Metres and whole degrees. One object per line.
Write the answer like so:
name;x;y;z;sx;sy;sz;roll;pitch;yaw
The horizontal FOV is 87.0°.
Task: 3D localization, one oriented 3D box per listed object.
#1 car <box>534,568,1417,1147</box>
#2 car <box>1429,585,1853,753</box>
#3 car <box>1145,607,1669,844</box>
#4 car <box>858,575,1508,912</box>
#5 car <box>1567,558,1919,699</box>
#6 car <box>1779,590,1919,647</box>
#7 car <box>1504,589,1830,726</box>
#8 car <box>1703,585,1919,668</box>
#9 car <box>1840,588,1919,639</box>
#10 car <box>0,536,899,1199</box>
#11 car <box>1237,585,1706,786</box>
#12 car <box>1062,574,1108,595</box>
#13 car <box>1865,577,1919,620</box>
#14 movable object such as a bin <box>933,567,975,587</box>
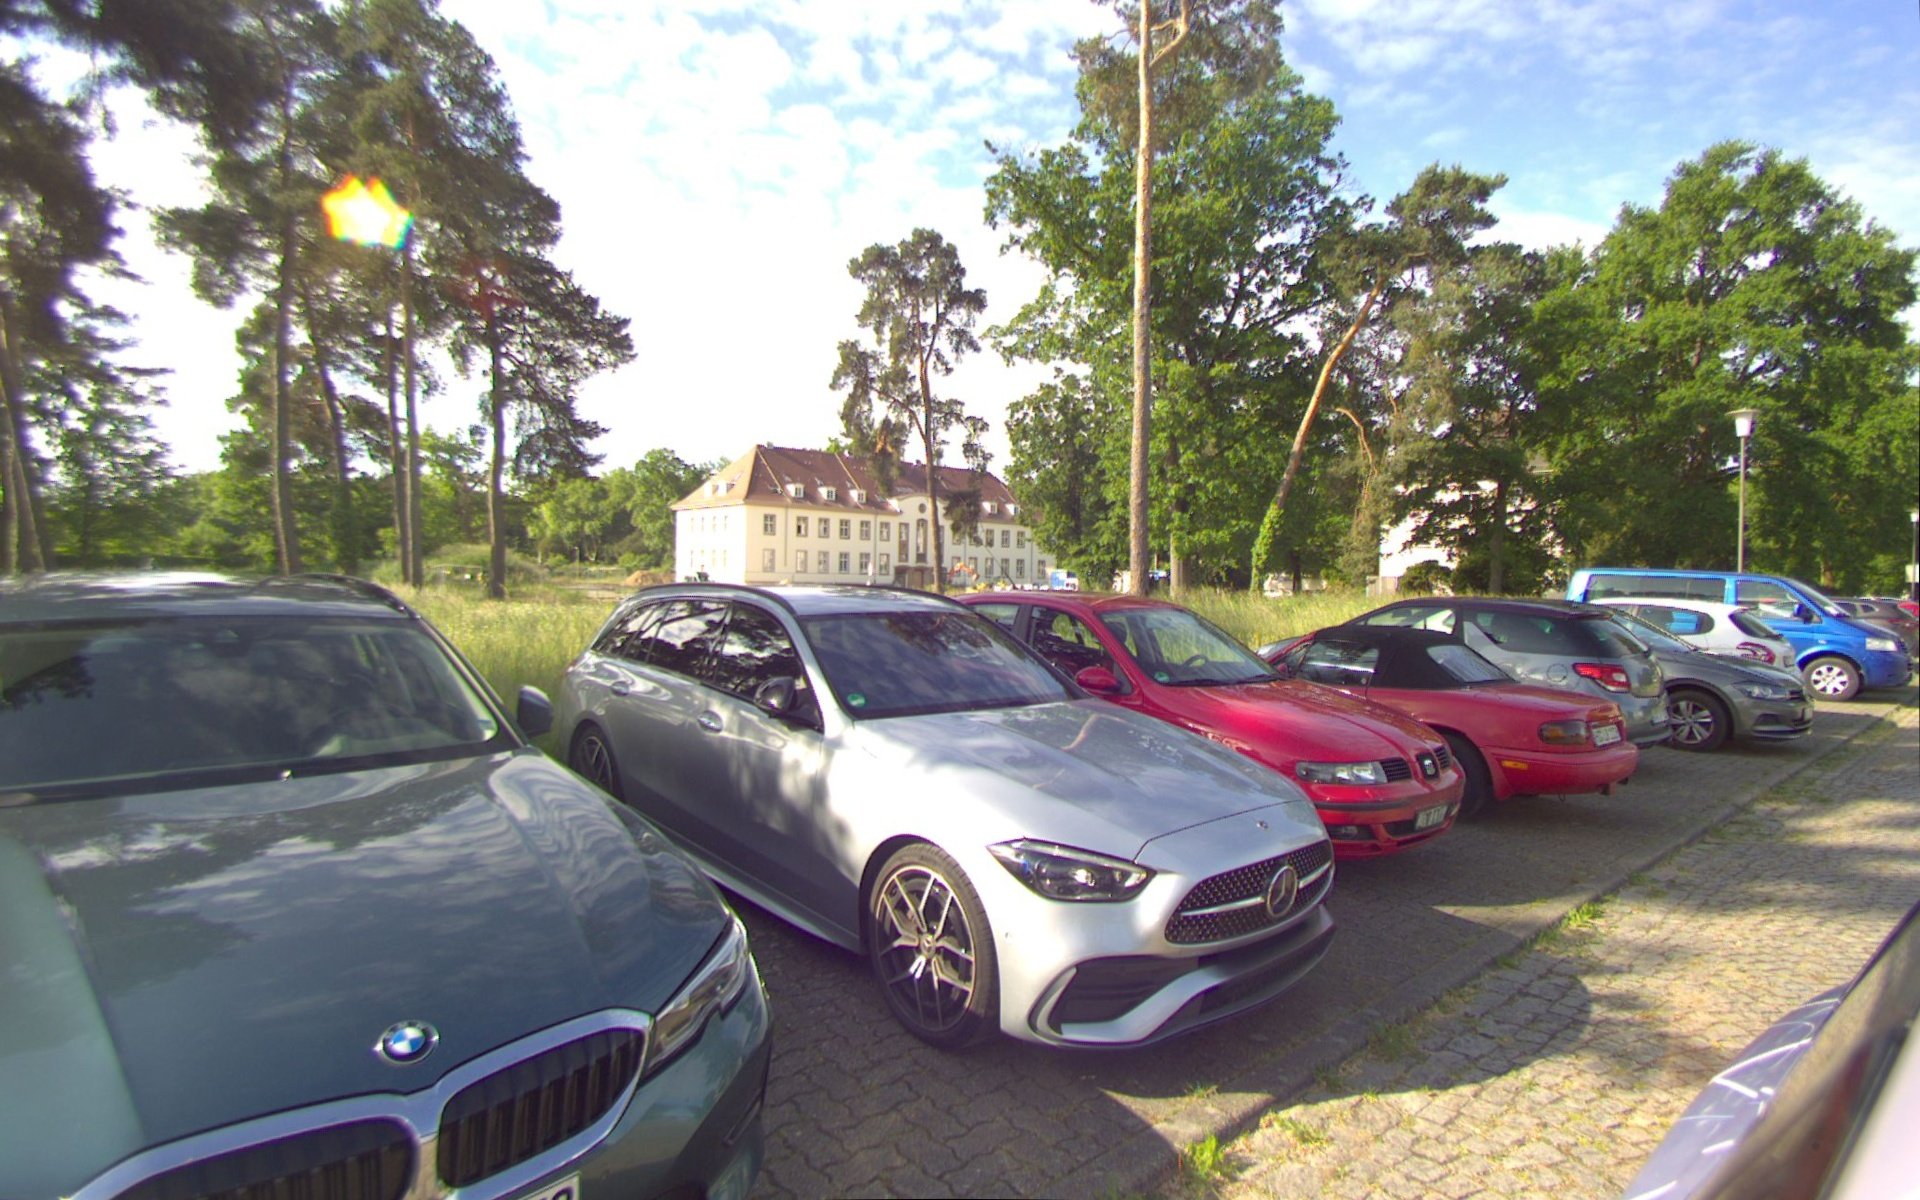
car;-0.391;0.638;4.957;1.795;1.419;4.420;0;3;-42
car;7.356;0.615;11.300;1.478;1.509;3.630;0;1;-31
car;3.181;0.750;7.670;1.395;1.271;3.354;0;2;-41
car;1.153;0.615;6.598;1.632;1.410;3.915;0;3;-41
car;13.163;0.347;16.966;1.964;2.039;4.726;0;1;-39
car;27.006;0.524;29.948;1.724;1.537;3.998;0;1;-38
car;9.234;0.649;13.414;1.423;1.509;3.265;0;1;-38
car;19.567;0.539;22.987;1.724;1.660;3.998;0;1;-38
car;34.574;0.472;36.512;1.725;1.763;3.996;-1;-1;-38
car;-2.347;0.587;3.240;1.796;1.535;4.499;0;3;-44
car;4.756;0.645;9.834;1.522;1.509;3.776;0;2;-41
car;12.681;-1.596;102.442;4.688;2.039;1.997;0;1;-41
car;38.239;-0.091;39.539;1.724;1.635;3.997;-1;-1;-37
movable object such as a bin;-0.686;-2.738;120.093;1.995;2.352;4.906;2;2;45
